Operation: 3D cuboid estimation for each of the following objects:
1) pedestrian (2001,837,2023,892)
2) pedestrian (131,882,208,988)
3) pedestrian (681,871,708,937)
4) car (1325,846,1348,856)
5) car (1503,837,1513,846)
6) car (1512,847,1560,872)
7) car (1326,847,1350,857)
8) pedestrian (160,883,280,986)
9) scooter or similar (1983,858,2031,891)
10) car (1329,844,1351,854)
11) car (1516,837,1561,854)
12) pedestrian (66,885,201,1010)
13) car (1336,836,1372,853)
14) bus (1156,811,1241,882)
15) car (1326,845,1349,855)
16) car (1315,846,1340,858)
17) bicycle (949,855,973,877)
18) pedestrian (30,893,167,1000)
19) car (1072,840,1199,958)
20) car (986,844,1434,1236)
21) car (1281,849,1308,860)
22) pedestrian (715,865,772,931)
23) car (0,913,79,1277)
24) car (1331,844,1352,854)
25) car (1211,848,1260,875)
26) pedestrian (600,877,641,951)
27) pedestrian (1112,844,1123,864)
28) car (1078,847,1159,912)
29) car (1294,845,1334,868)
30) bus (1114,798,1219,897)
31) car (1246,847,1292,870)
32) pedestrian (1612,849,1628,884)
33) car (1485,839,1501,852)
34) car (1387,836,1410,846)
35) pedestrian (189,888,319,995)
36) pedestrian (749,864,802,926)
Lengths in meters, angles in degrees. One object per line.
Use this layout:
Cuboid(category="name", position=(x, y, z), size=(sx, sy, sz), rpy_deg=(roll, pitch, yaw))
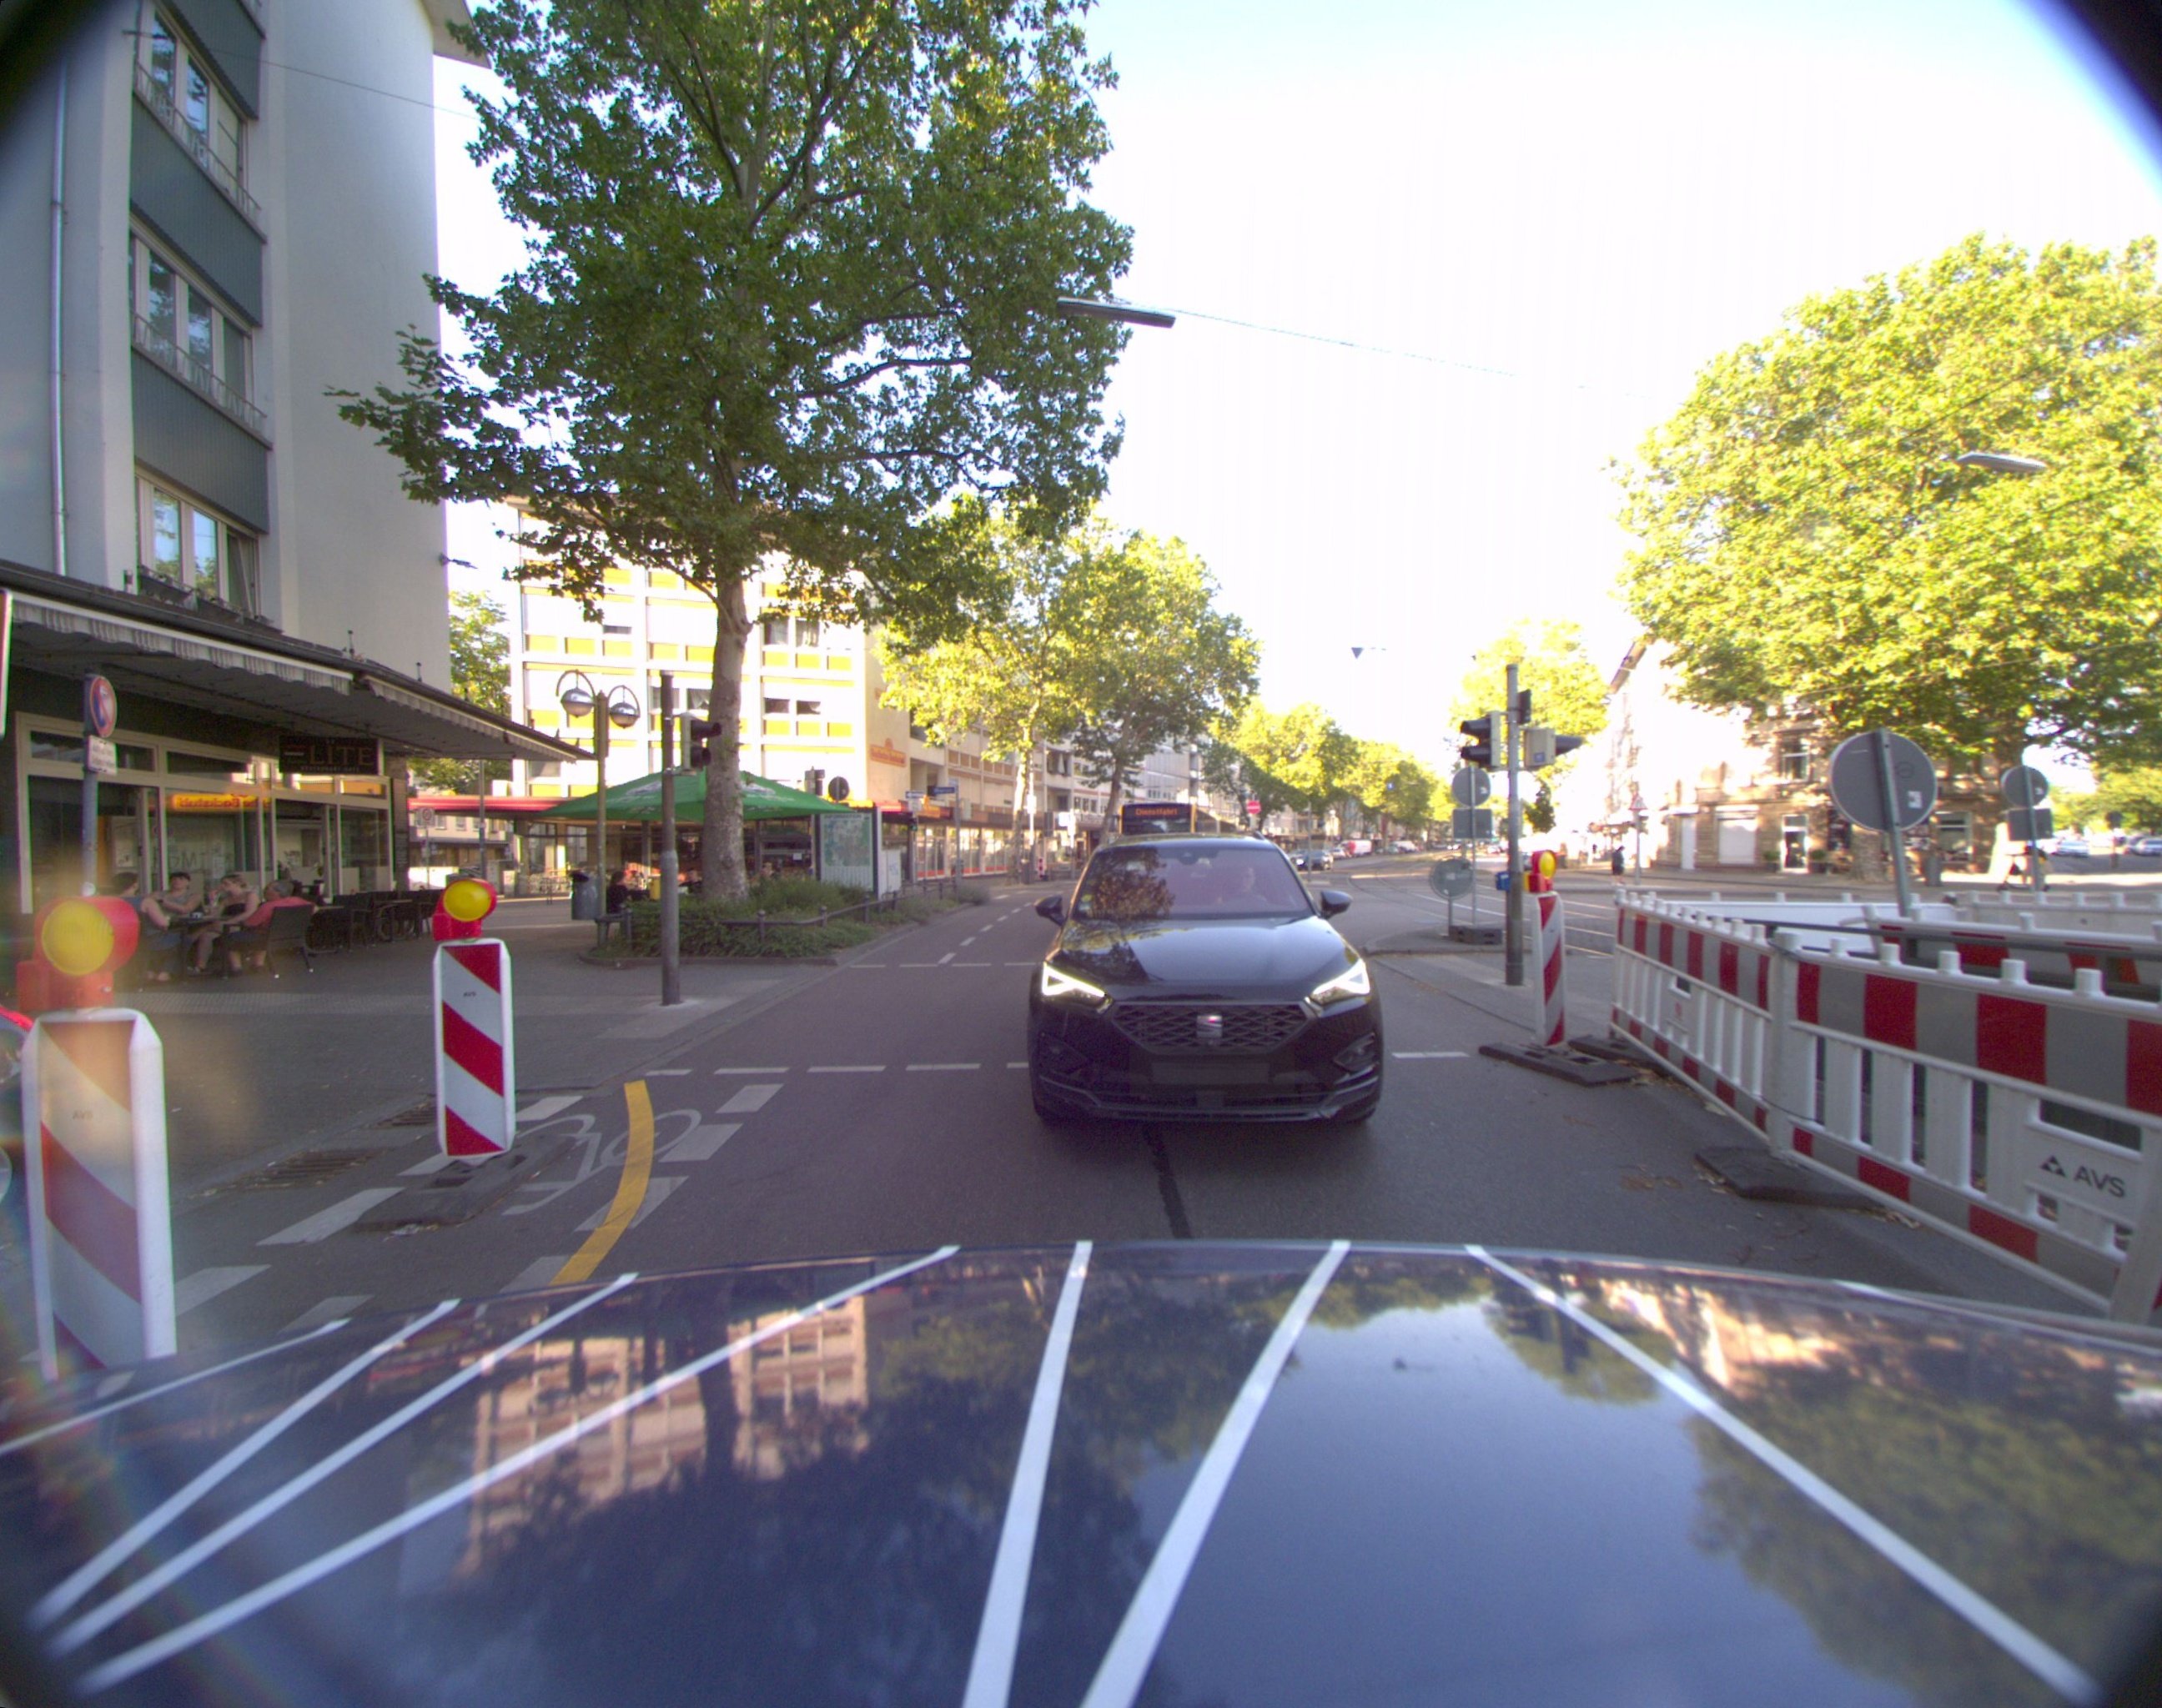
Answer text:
Cuboid(category="pedestrian", position=(29.970, 0.342, 24.471), size=(0.355, 1.757, 0.418), rpy_deg=(-2, 2, -41))
Cuboid(category="pedestrian", position=(-11.238, 0.976, 9.368), size=(0.519, 1.236, 0.553), rpy_deg=(0, 0, 34))
Cuboid(category="pedestrian", position=(-7.405, 0.944, 14.559), size=(0.433, 1.212, 0.467), rpy_deg=(0, 1, -29))
Cuboid(category="car", position=(32.932, -0.421, 97.902), size=(2.627, 1.274, 1.201), rpy_deg=(-1, 2, 3))
Cuboid(category="car", position=(92.692, -2.786, 165.066), size=(1.903, 1.893, 4.007), rpy_deg=(0, 1, 29))
Cuboid(category="car", position=(28.054, 0.309, 46.976), size=(1.881, 1.401, 4.006), rpy_deg=(0, 1, 21))
Cuboid(category="car", position=(32.253, -0.251, 95.313), size=(2.627, 1.274, 1.201), rpy_deg=(-1, 2, 3))
Cuboid(category="pedestrian", position=(-10.687, 0.975, 9.456), size=(0.666, 1.211, 0.717), rpy_deg=(0, 0, -5))
Cuboid(category="scooter or similar", position=(29.736, 0.657, 24.410), size=(0.309, 1.033, 0.979), rpy_deg=(-2, 1, -40))
Cuboid(category="car", position=(35.490, -0.663, 104.286), size=(2.627, 1.380, 1.201), rpy_deg=(-1, 2, 3))
Cuboid(category="car", position=(52.233, -0.944, 86.756), size=(3.999, 1.904, 1.998), rpy_deg=(-1, 1, -7))
Cuboid(category="pedestrian", position=(-10.215, 0.974, 8.225), size=(0.651, 1.244, 0.716), rpy_deg=(0, 0, -24))
Cuboid(category="car", position=(40.664, -1.442, 113.177), size=(4.868, 2.362, 1.878), rpy_deg=(-1, 2, -10))
Cuboid(category="bus", position=(6.075, -0.380, 37.800), size=(2.749, 3.085, 9.508), rpy_deg=(0, 1, 17))
Cuboid(category="car", position=(34.082, -0.511, 101.002), size=(2.627, 1.274, 1.201), rpy_deg=(-1, 2, 3))
Cuboid(category="car", position=(29.815, -0.266, 91.918), size=(2.627, 1.464, 1.201), rpy_deg=(-1, 2, 3))
Cuboid(category="bicycle", position=(-6.656, 0.656, 42.107), size=(0.528, 1.136, 1.976), rpy_deg=(-1, 1, 15))
Cuboid(category="pedestrian", position=(-11.082, 1.016, 8.600), size=(0.718, 1.123, 0.649), rpy_deg=(0, 0, -24))
Cuboid(category="car", position=(0.975, 0.624, 12.859), size=(1.743, 1.630, 4.300), rpy_deg=(-2, 0, 6))
Cuboid(category="car", position=(0.688, 0.792, 5.384), size=(1.848, 1.648, 4.300), rpy_deg=(-2, 0, 4))
Cuboid(category="car", position=(23.946, 0.050, 85.089), size=(2.629, 1.210, 1.200), rpy_deg=(-1, 2, -6))
Cuboid(category="pedestrian", position=(-6.802, 0.871, 15.336), size=(0.718, 1.278, 0.769), rpy_deg=(-1, 1, 14))
Cuboid(category="car", position=(-5.146, 0.987, 1.500), size=(1.623, 1.457, 3.604), rpy_deg=(1, 0, -2))
Cuboid(category="car", position=(36.741, -0.728, 107.183), size=(2.627, 1.338, 1.201), rpy_deg=(-1, 2, 3))
Cuboid(category="car", position=(9.434, 0.409, 46.139), size=(1.908, 1.467, 4.425), rpy_deg=(0, 2, 26))
Cuboid(category="pedestrian", position=(-7.775, 0.996, 12.824), size=(0.469, 1.212, 0.431), rpy_deg=(-2, 1, -44))
Cuboid(category="pedestrian", position=(2.979, 0.014, 61.777), size=(0.658, 1.632, 0.660), rpy_deg=(0, 1, 26))
Cuboid(category="car", position=(1.109, 0.600, 20.223), size=(1.743, 1.492, 4.301), rpy_deg=(-2, 0, 8))
Cuboid(category="car", position=(16.435, 0.138, 53.505), size=(1.952, 1.467, 4.764), rpy_deg=(0, 2, 26))
Cuboid(category="bus", position=(3.536, -0.259, 28.686), size=(2.750, 3.085, 9.506), rpy_deg=(0, 1, 14))
Cuboid(category="car", position=(13.670, 0.298, 55.100), size=(1.952, 1.541, 4.765), rpy_deg=(0, 2, 31))
Cuboid(category="pedestrian", position=(20.199, 0.479, 28.475), size=(0.365, 1.301, 0.402), rpy_deg=(0, 1, 18))
Cuboid(category="car", position=(63.149, -1.290, 116.430), size=(1.994, 1.856, 4.007), rpy_deg=(0, 1, 31))
Cuboid(category="car", position=(64.357, -2.652, 153.922), size=(4.000, 2.002, 1.879), rpy_deg=(-1, 1, -8))
Cuboid(category="pedestrian", position=(-9.842, 1.009, 9.076), size=(0.847, 1.191, 0.649), rpy_deg=(0, 0, -22))
Cuboid(category="pedestrian", position=(-6.535, 0.867, 16.260), size=(0.718, 1.278, 0.769), rpy_deg=(-1, 1, 13))
